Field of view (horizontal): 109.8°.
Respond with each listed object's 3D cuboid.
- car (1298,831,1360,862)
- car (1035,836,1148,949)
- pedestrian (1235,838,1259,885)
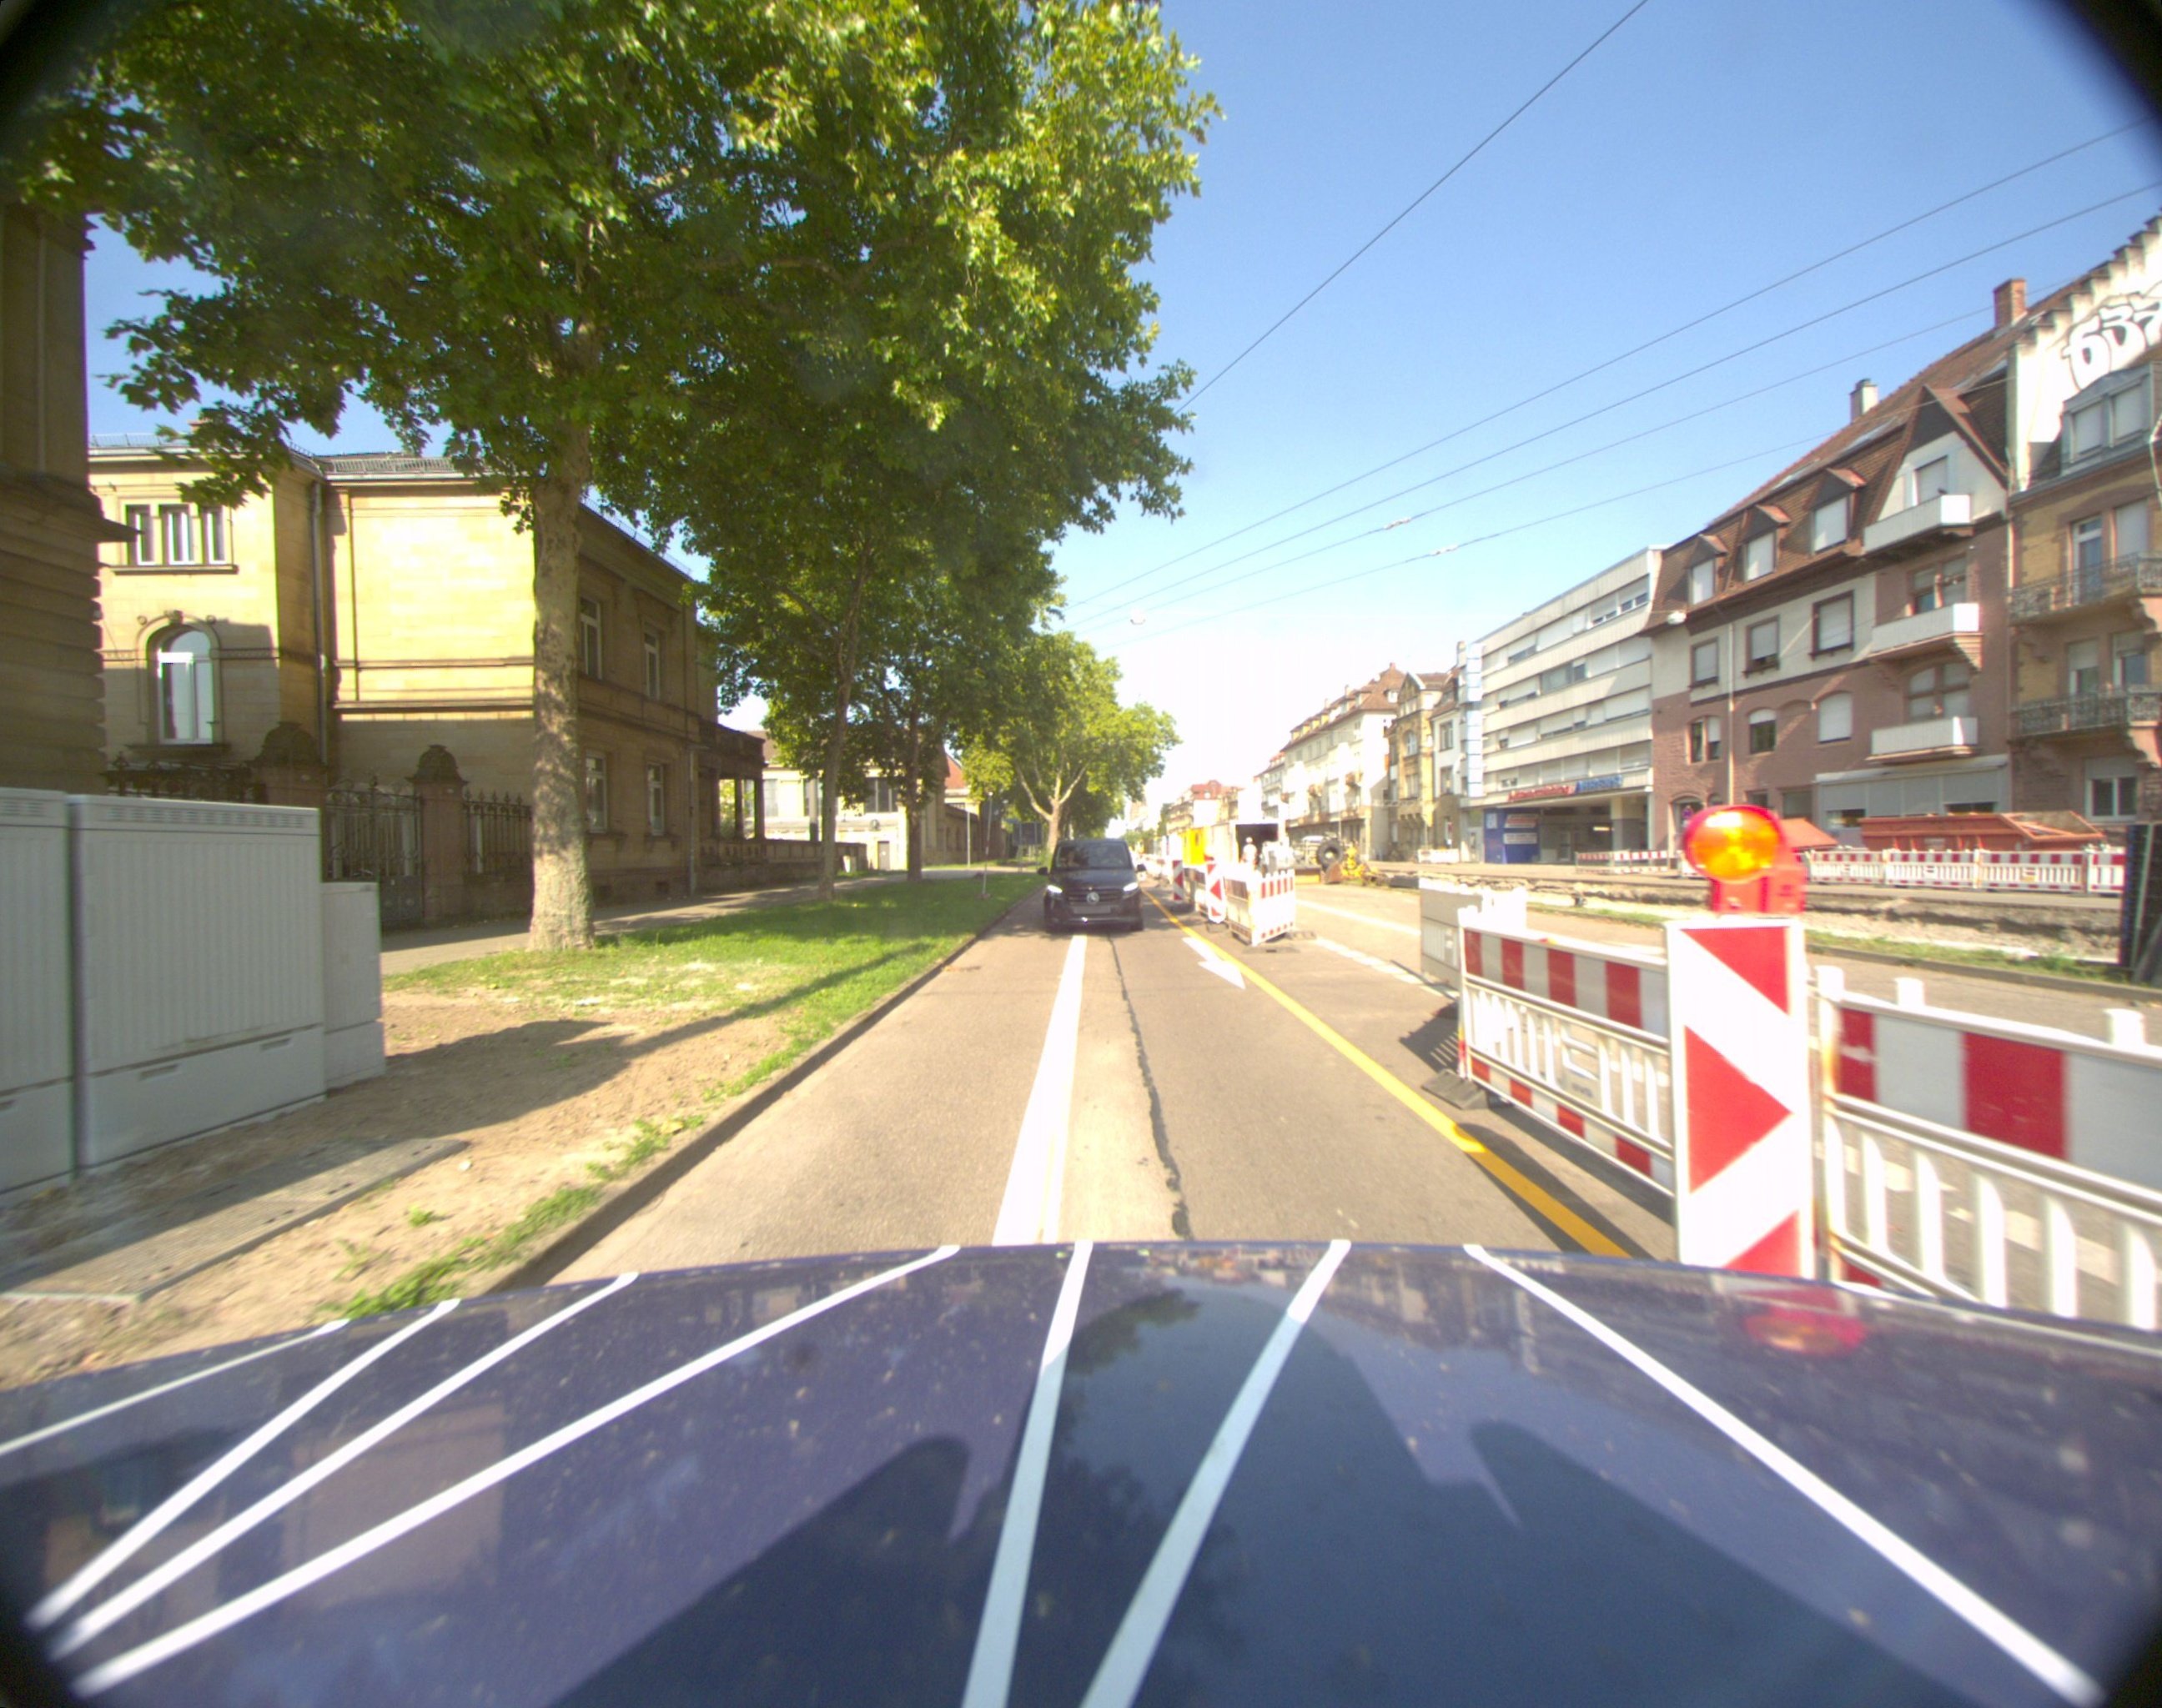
[{"bbox_3d":[18.550,-0.587,57.247,2.366,2.123,7.121,-1,1,1],"label":"car"},{"bbox_3d":[0.227,0.630,15.013,1.853,1.875,4.178,-2,1,1],"label":"car"},{"bbox_3d":[6.421,0.296,29.422,0.803,1.787,0.596,0,1,1],"label":"pedestrian"}]
